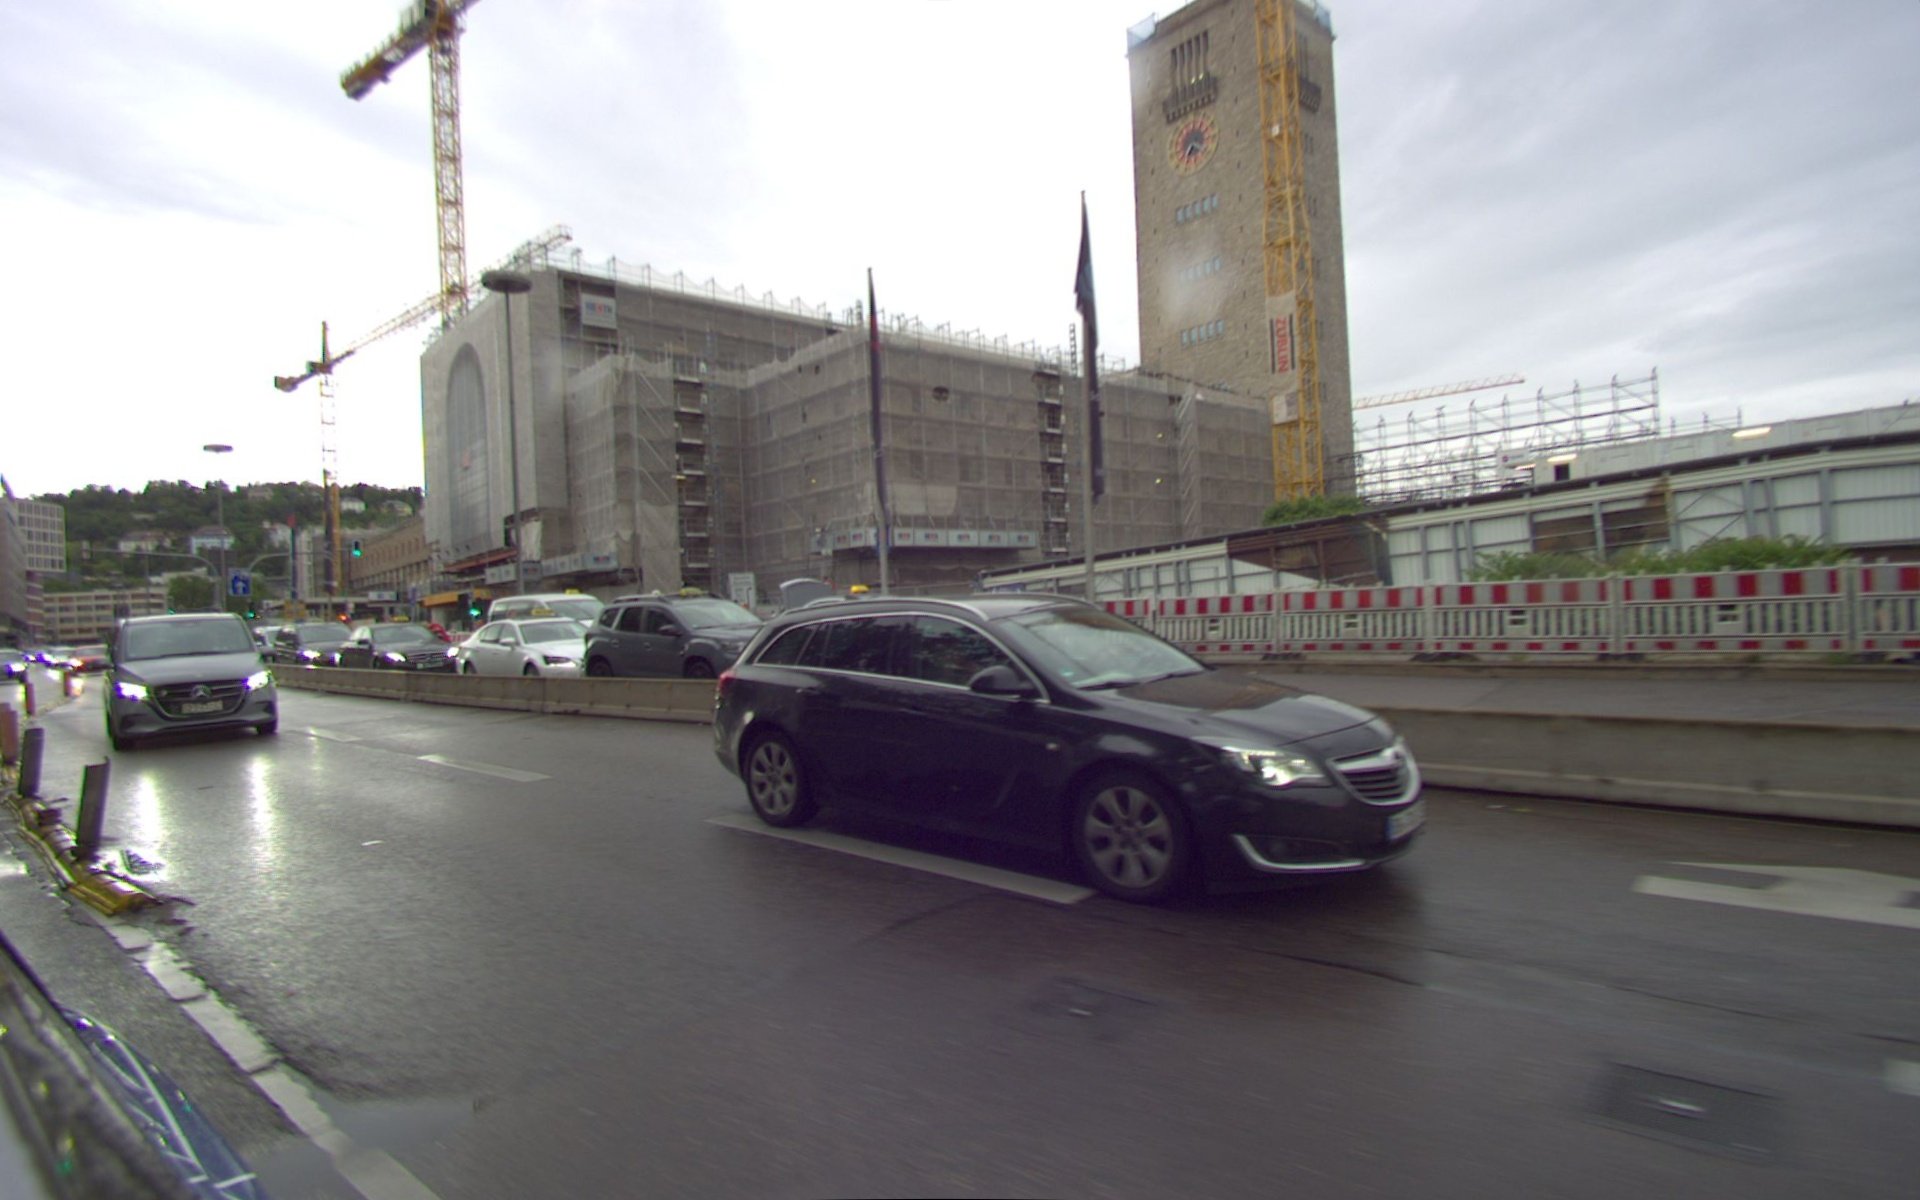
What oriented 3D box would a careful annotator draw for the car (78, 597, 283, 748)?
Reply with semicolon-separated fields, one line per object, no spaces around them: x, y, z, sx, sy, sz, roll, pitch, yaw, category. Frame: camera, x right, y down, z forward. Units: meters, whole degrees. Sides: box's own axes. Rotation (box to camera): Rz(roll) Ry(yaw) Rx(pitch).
-12.261;1.035;15.750;1.970;1.870;5.362;-3;0;-43;car

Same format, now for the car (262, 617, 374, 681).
-19.196;1.412;30.156;1.970;1.729;4.759;-1;-1;-43;car

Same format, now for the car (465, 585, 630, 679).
-10.808;0.829;26.349;4.995;2.224;1.977;-2;-1;42;car

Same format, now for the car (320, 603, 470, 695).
-14.551;1.212;25.950;4.713;2.130;1.972;-2;-1;43;car

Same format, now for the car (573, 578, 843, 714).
-4.012;0.666;15.743;4.291;1.828;1.973;-2;-1;41;car

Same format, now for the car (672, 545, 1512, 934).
0.389;0.569;6.178;4.918;1.475;1.788;-2;1;43;car

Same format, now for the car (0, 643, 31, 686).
-42.104;2.794;44.086;3.998;1.777;1.973;-2;-1;41;car

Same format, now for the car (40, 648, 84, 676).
-60.842;4.179;68.576;3.998;1.721;1.741;-2;-1;41;car

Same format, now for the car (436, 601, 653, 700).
-8.099;0.945;19.468;4.900;1.666;1.972;-3;-2;43;car

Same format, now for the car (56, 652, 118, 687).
-42.871;3.365;49.692;4.248;1.550;1.791;-2;-1;42;car

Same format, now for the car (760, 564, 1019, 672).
-1.335;0.338;17.727;4.571;1.665;1.809;-2;-1;41;car

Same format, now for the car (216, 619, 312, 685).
-23.491;1.716;34.102;1.971;2.029;4.002;-1;-1;-45;car
